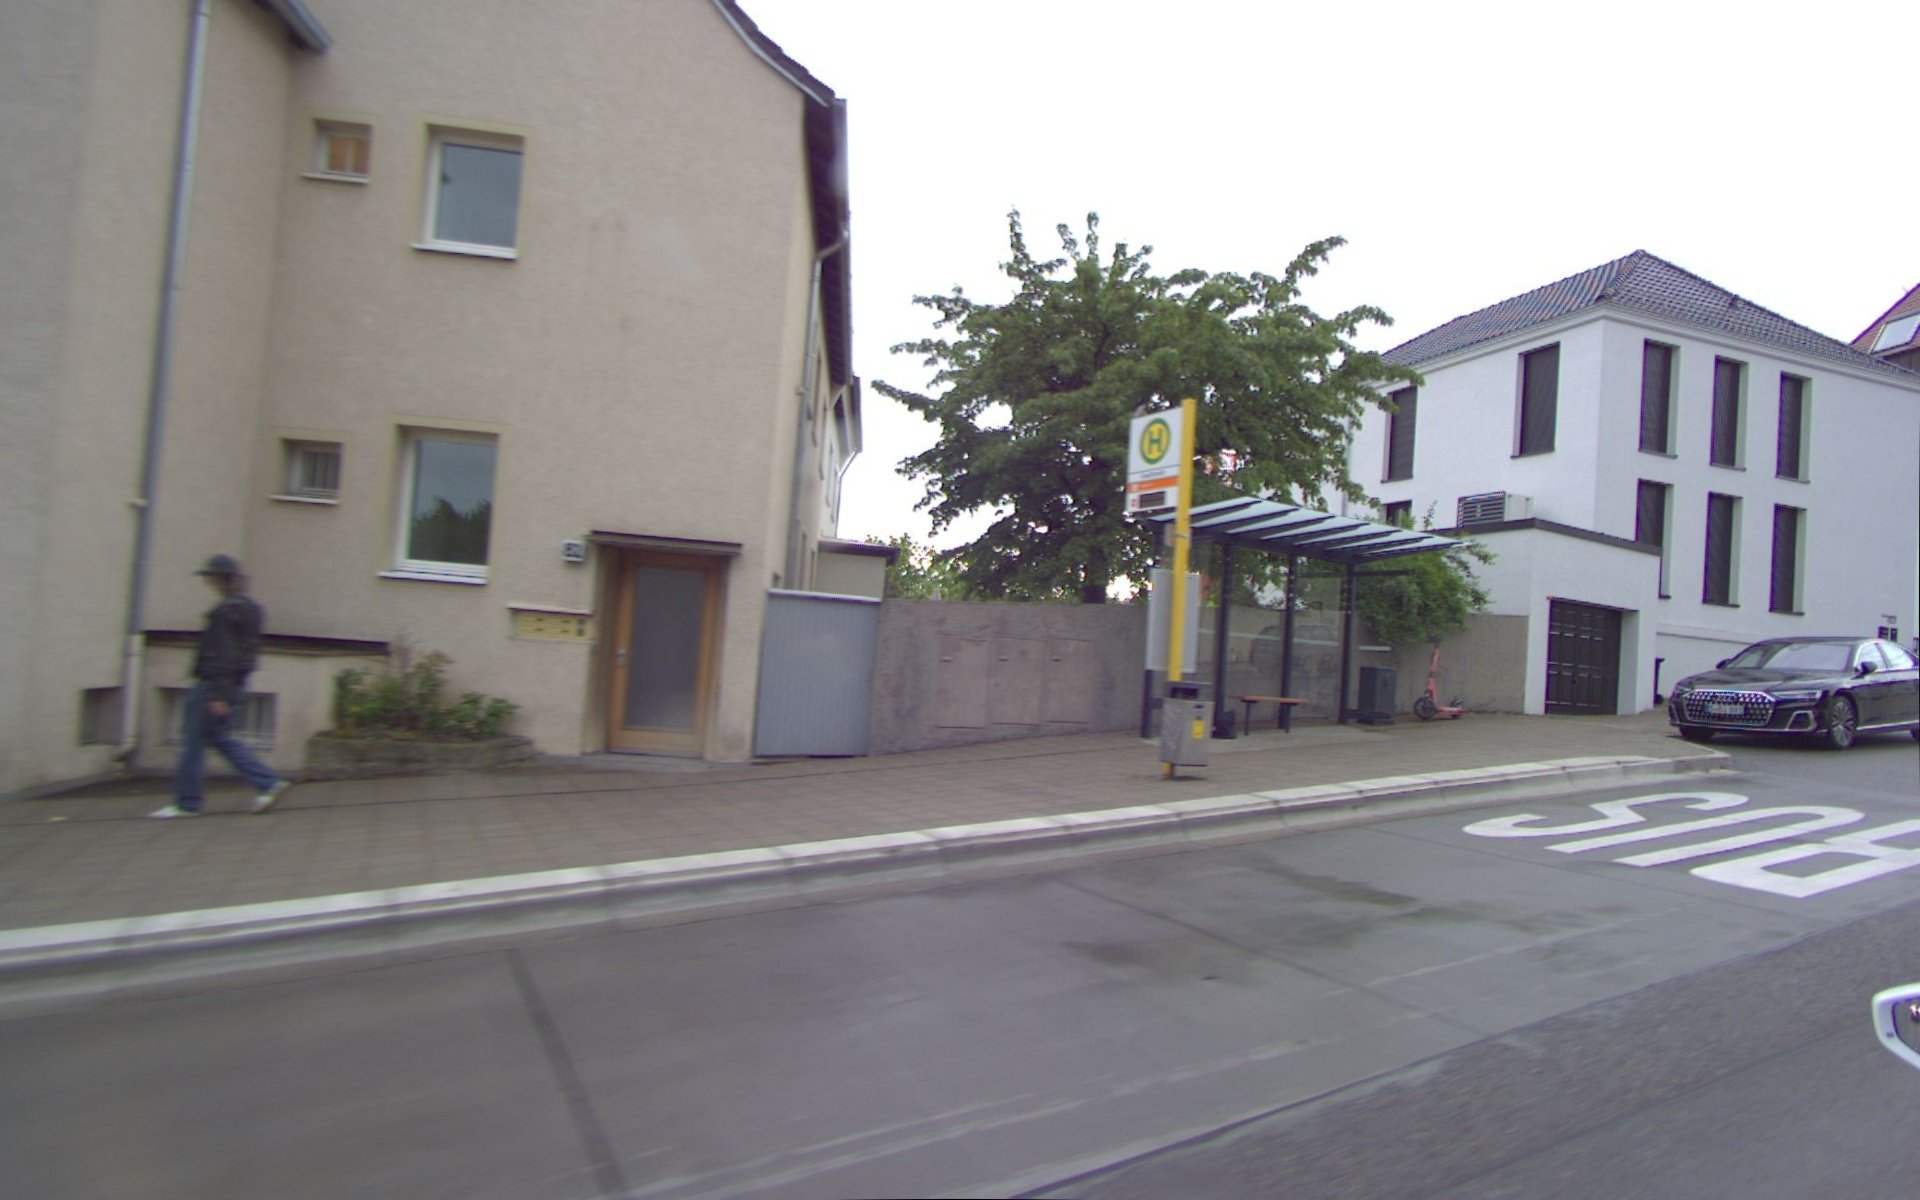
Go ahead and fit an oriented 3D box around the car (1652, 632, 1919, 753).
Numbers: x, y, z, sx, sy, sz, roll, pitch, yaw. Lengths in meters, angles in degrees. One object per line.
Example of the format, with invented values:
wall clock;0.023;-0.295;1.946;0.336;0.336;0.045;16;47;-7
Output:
car;12.383;1.281;14.593;4.930;1.505;1.821;3;-2;-29

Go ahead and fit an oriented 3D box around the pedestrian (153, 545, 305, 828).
pedestrian;-5.189;0.585;7.186;0.719;1.881;0.783;2;0;-29

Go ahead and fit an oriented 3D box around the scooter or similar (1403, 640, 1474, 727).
scooter or similar;7.029;1.215;14.759;1.109;1.236;0.336;2;-1;-29
